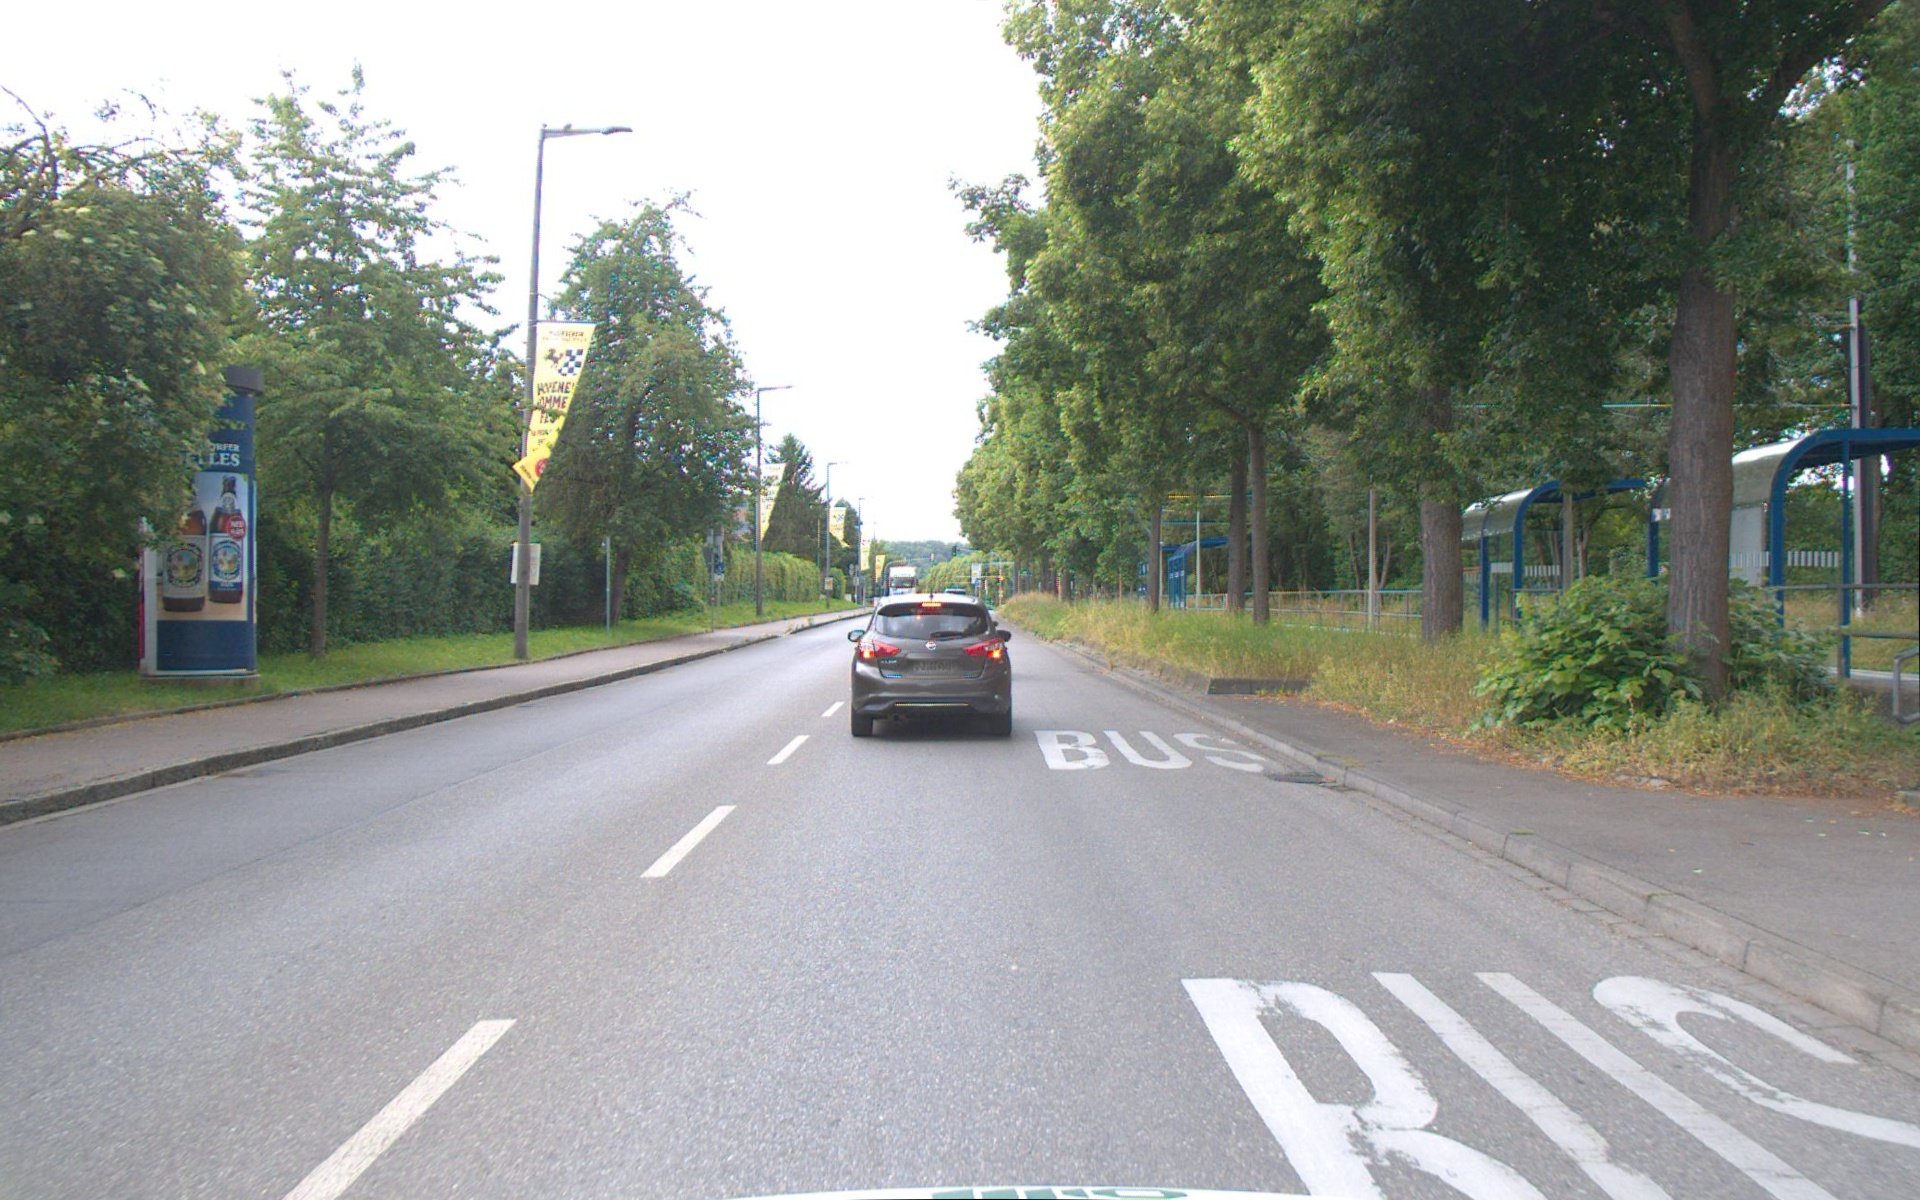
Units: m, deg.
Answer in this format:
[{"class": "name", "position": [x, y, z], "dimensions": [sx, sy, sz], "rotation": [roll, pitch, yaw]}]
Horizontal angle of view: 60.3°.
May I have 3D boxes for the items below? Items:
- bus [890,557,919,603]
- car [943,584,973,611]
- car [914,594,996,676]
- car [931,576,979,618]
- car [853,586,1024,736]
[{"class": "bus", "position": [-5.216, -1.855, 155.820], "dimensions": [2.437, 4.096, 10.216], "rotation": [1, 0, -1]}, {"class": "car", "position": [-0.126, -0.143, 93.593], "dimensions": [1.657, 1.466, 3.541], "rotation": [1, 0, -1]}, {"class": "car", "position": [-0.109, 0.635, 31.886], "dimensions": [1.471, 1.466, 3.541], "rotation": [1, 0, -1]}, {"class": "car", "position": [-0.210, -0.115, 59.851], "dimensions": [1.657, 1.466, 3.541], "rotation": [1, 0, -1]}, {"class": "car", "position": [-0.229, 0.635, 18.932], "dimensions": [1.747, 1.533, 3.695], "rotation": [1, 0, 0]}]
